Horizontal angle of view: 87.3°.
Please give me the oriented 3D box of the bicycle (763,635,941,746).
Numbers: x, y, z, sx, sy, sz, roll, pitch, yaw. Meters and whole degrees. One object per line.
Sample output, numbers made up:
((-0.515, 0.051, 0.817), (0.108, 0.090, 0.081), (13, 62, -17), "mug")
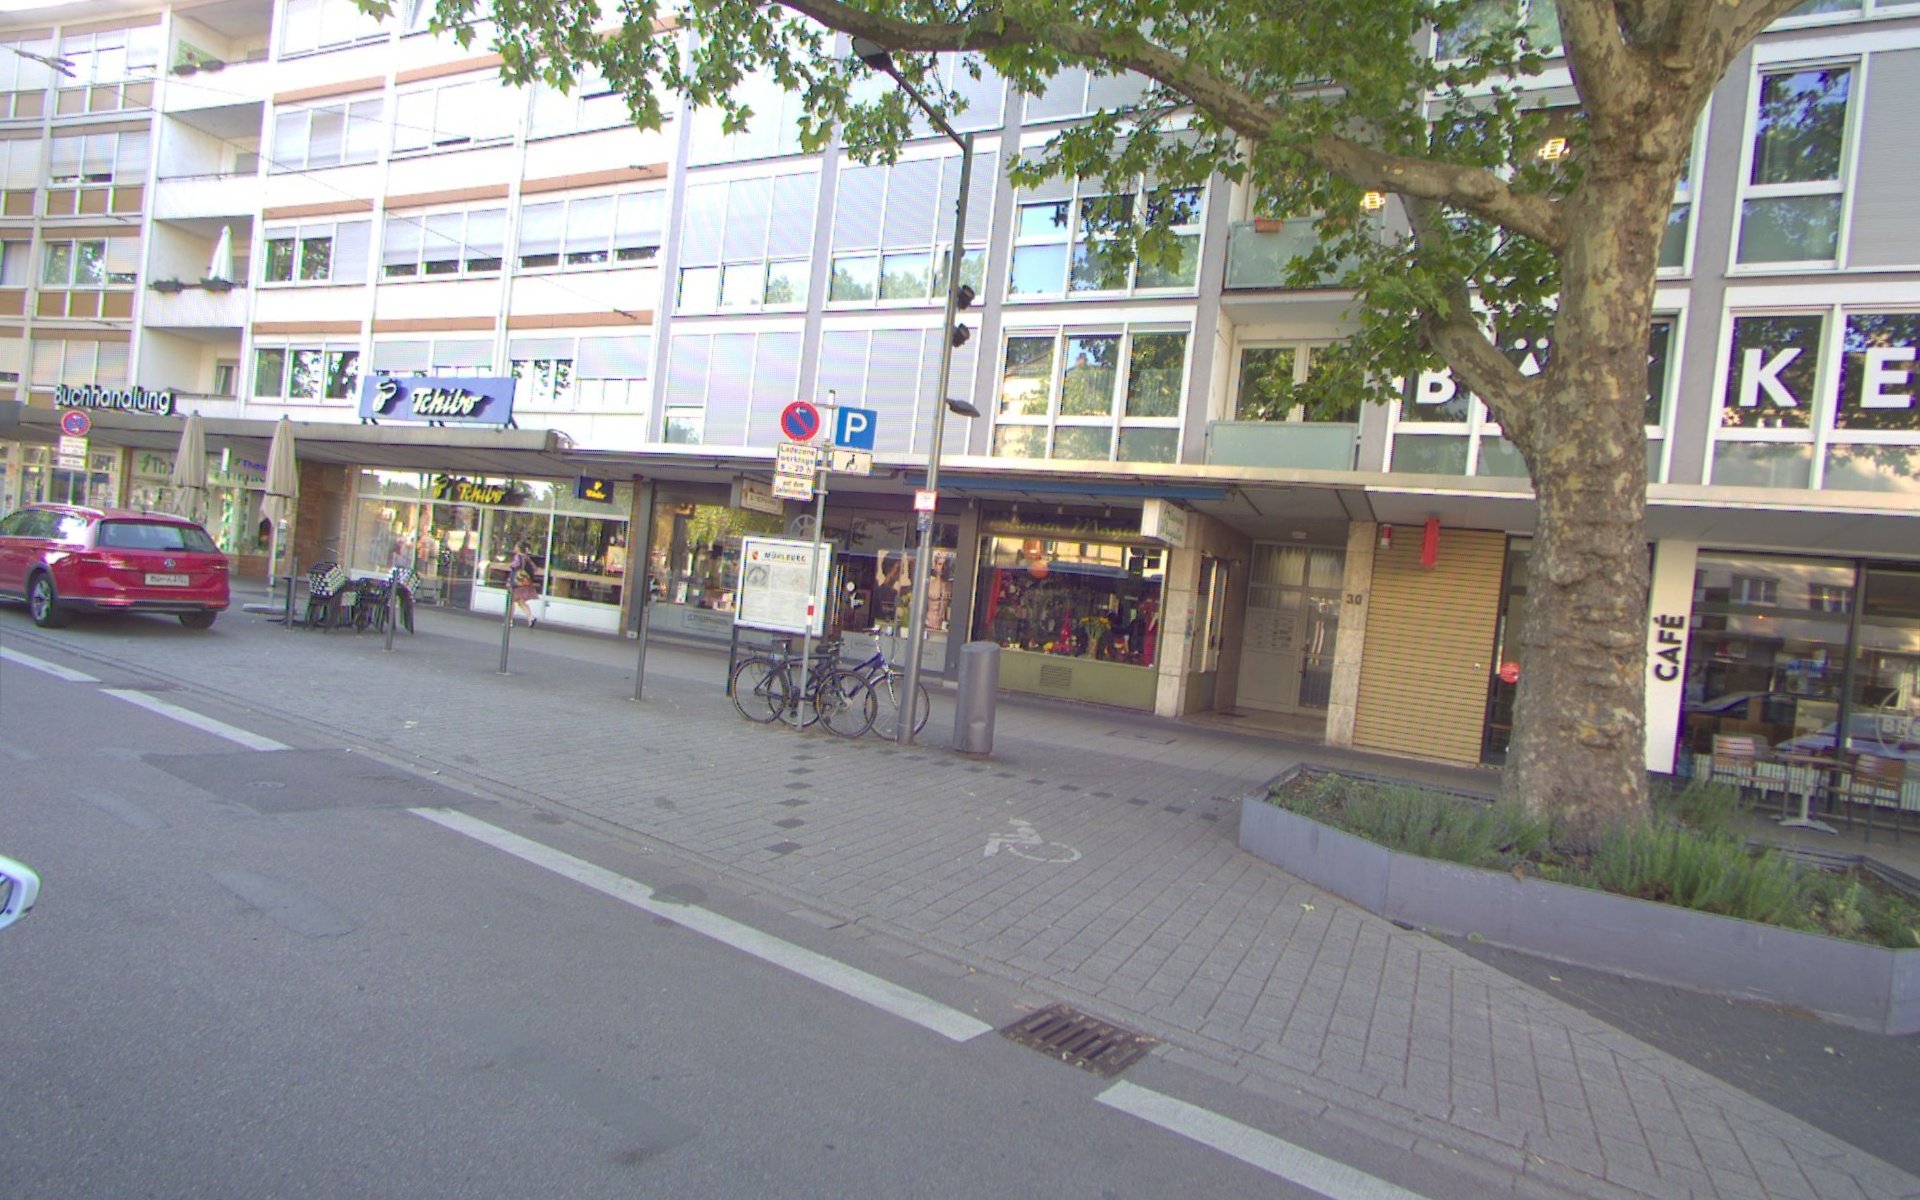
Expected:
((-1.133, 0.931, 10.555), (1.743, 0.931, 0.391), (6, 2, 12), "bicycle")

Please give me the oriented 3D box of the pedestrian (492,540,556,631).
((-8.176, -0.267, 18.879), (0.776, 1.613, 0.651), (7, 2, 26), "pedestrian")

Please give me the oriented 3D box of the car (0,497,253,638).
((-11.630, -0.491, 13.464), (4.229, 1.502, 1.772), (6, 1, 28), "car")

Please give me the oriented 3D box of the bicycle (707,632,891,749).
((-1.638, 0.900, 10.233), (1.743, 0.951, 0.391), (6, 2, 12), "bicycle")
